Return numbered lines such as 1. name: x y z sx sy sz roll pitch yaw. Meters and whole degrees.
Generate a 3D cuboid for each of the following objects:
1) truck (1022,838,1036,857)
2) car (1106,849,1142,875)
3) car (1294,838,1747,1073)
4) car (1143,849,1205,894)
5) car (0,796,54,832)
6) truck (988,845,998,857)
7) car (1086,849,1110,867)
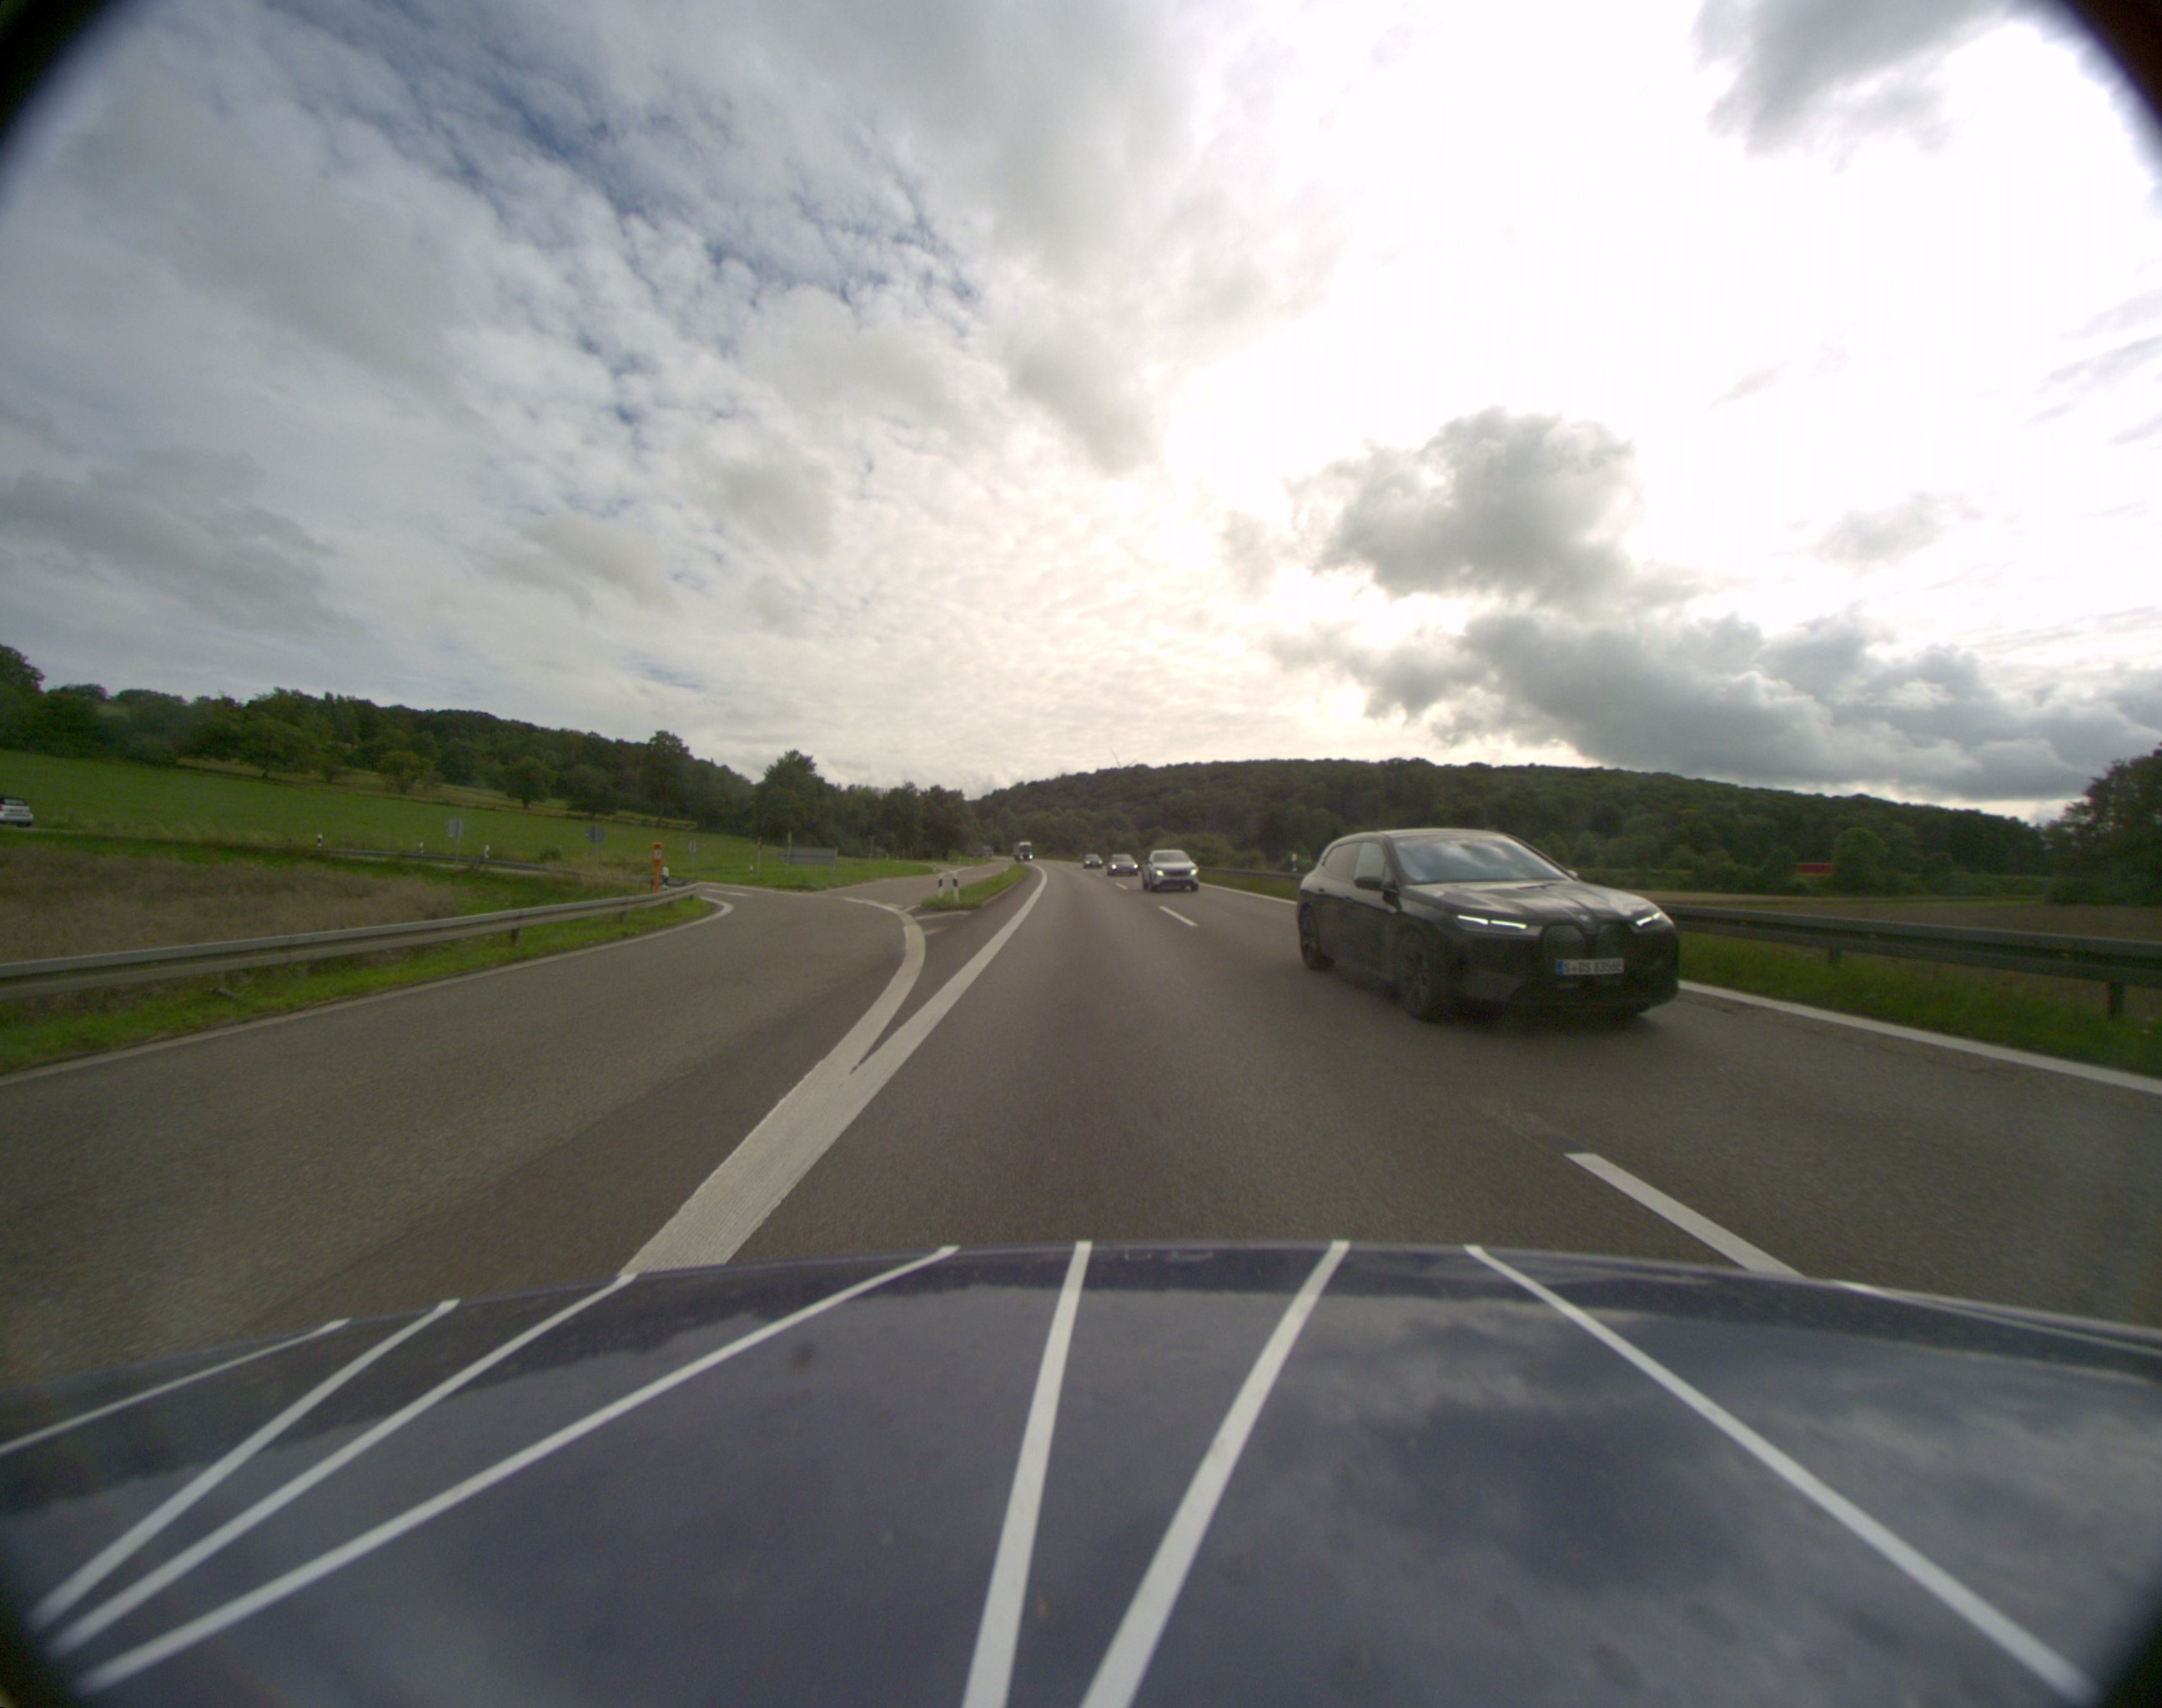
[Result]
1. truck: -11.206 -1.459 163.282 2.797 3.949 5.935 0 2 -6
2. car: 2.991 0.525 53.359 1.999 1.656 4.412 0 1 -4
3. car: 3.792 0.730 7.688 1.999 1.656 4.414 -1 0 0
4. car: 3.735 0.668 31.240 1.998 1.656 4.415 -2 0 0
5. car: -52.885 -2.115 36.442 4.003 1.542 1.782 7 -3 -13
6. truck: -29.394 -1.021 253.853 2.798 3.949 5.932 0 2 -12
7. car: 1.735 0.369 78.209 1.999 1.656 4.411 0 2 -4
